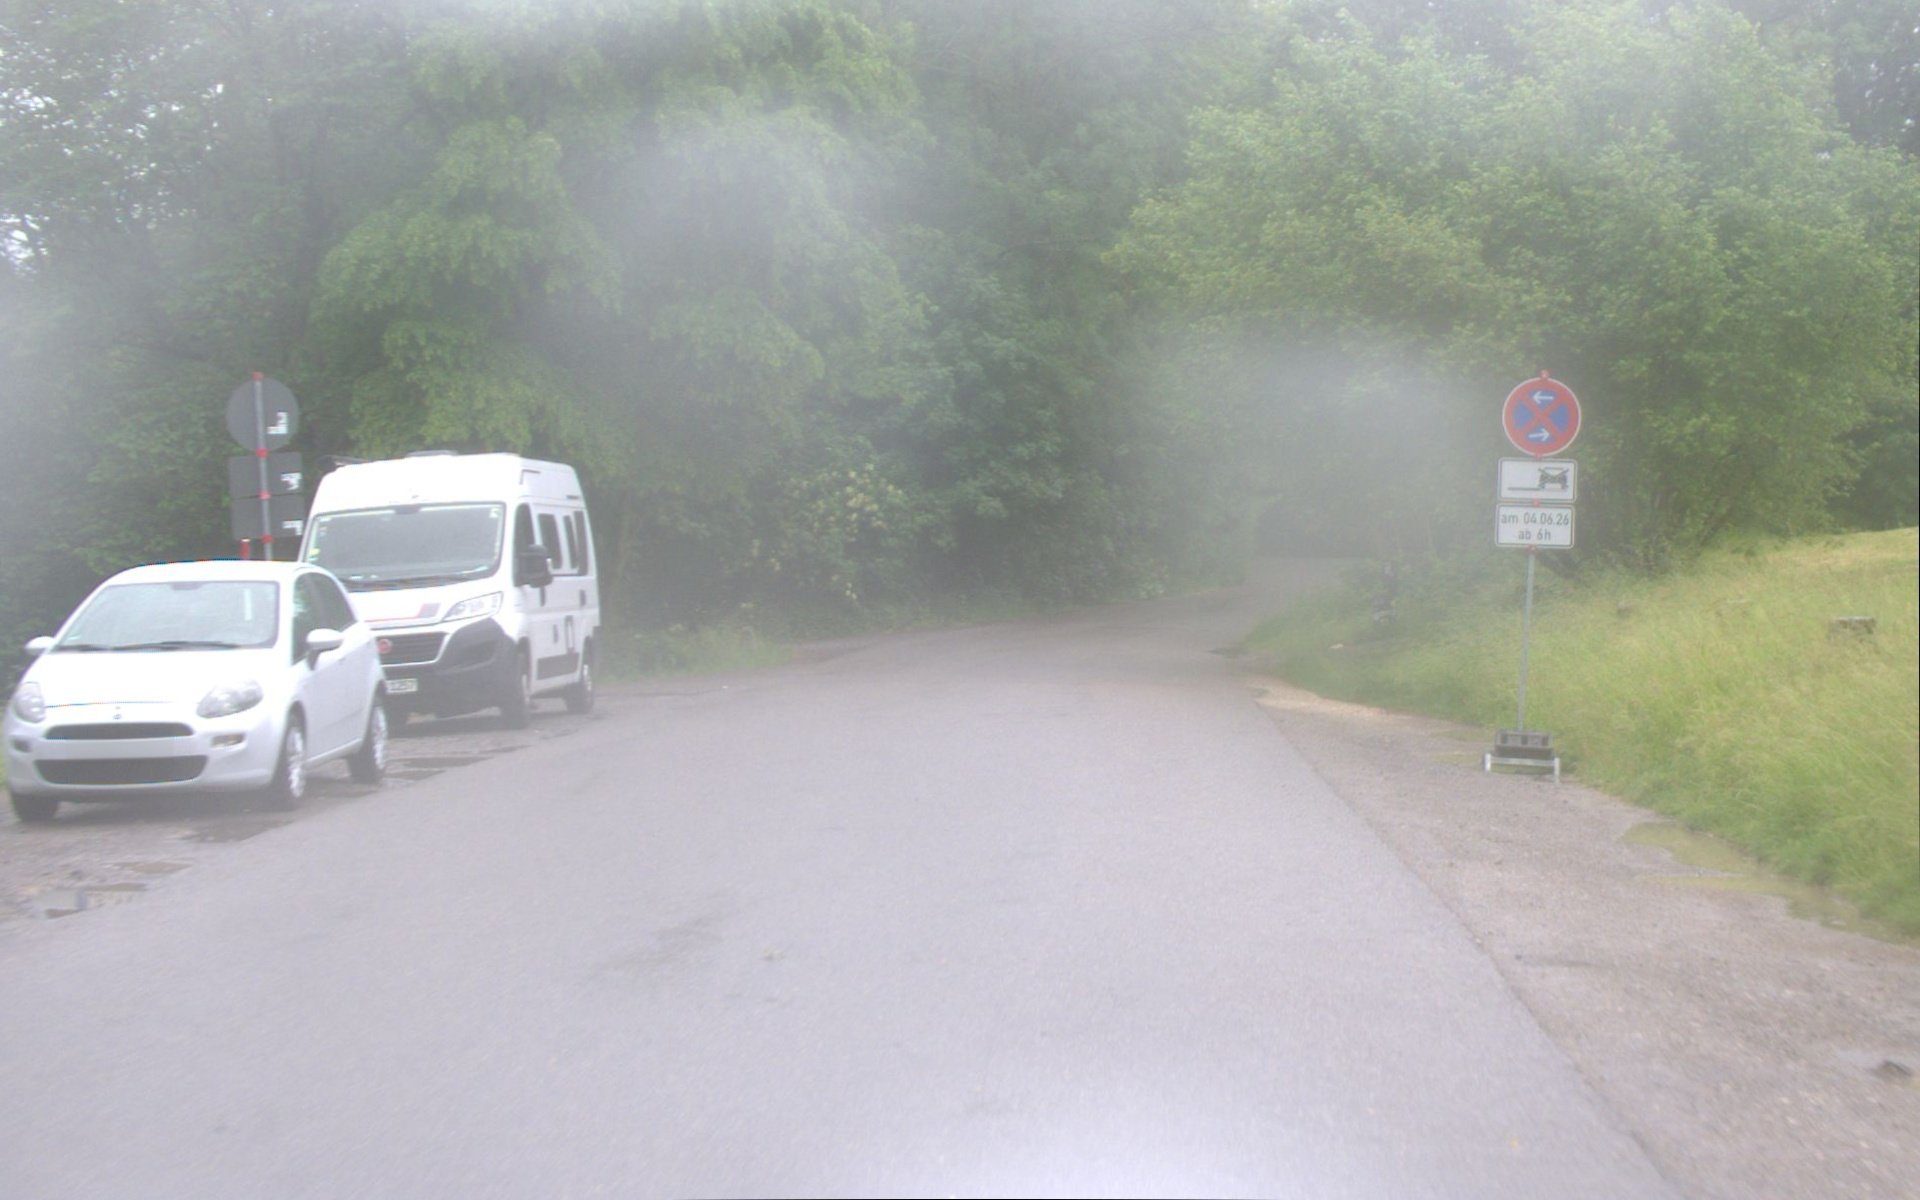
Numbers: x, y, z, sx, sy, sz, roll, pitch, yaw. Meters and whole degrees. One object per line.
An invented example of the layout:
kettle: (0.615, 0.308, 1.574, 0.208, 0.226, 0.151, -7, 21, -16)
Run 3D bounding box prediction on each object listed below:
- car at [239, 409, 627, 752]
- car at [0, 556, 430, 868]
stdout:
car: (-4.639, -0.257, 31.377, 2.273, 2.687, 6.049, -4, 2, 2)
car: (-4.691, 0.605, 21.460, 1.861, 1.590, 4.495, -3, 2, 2)
